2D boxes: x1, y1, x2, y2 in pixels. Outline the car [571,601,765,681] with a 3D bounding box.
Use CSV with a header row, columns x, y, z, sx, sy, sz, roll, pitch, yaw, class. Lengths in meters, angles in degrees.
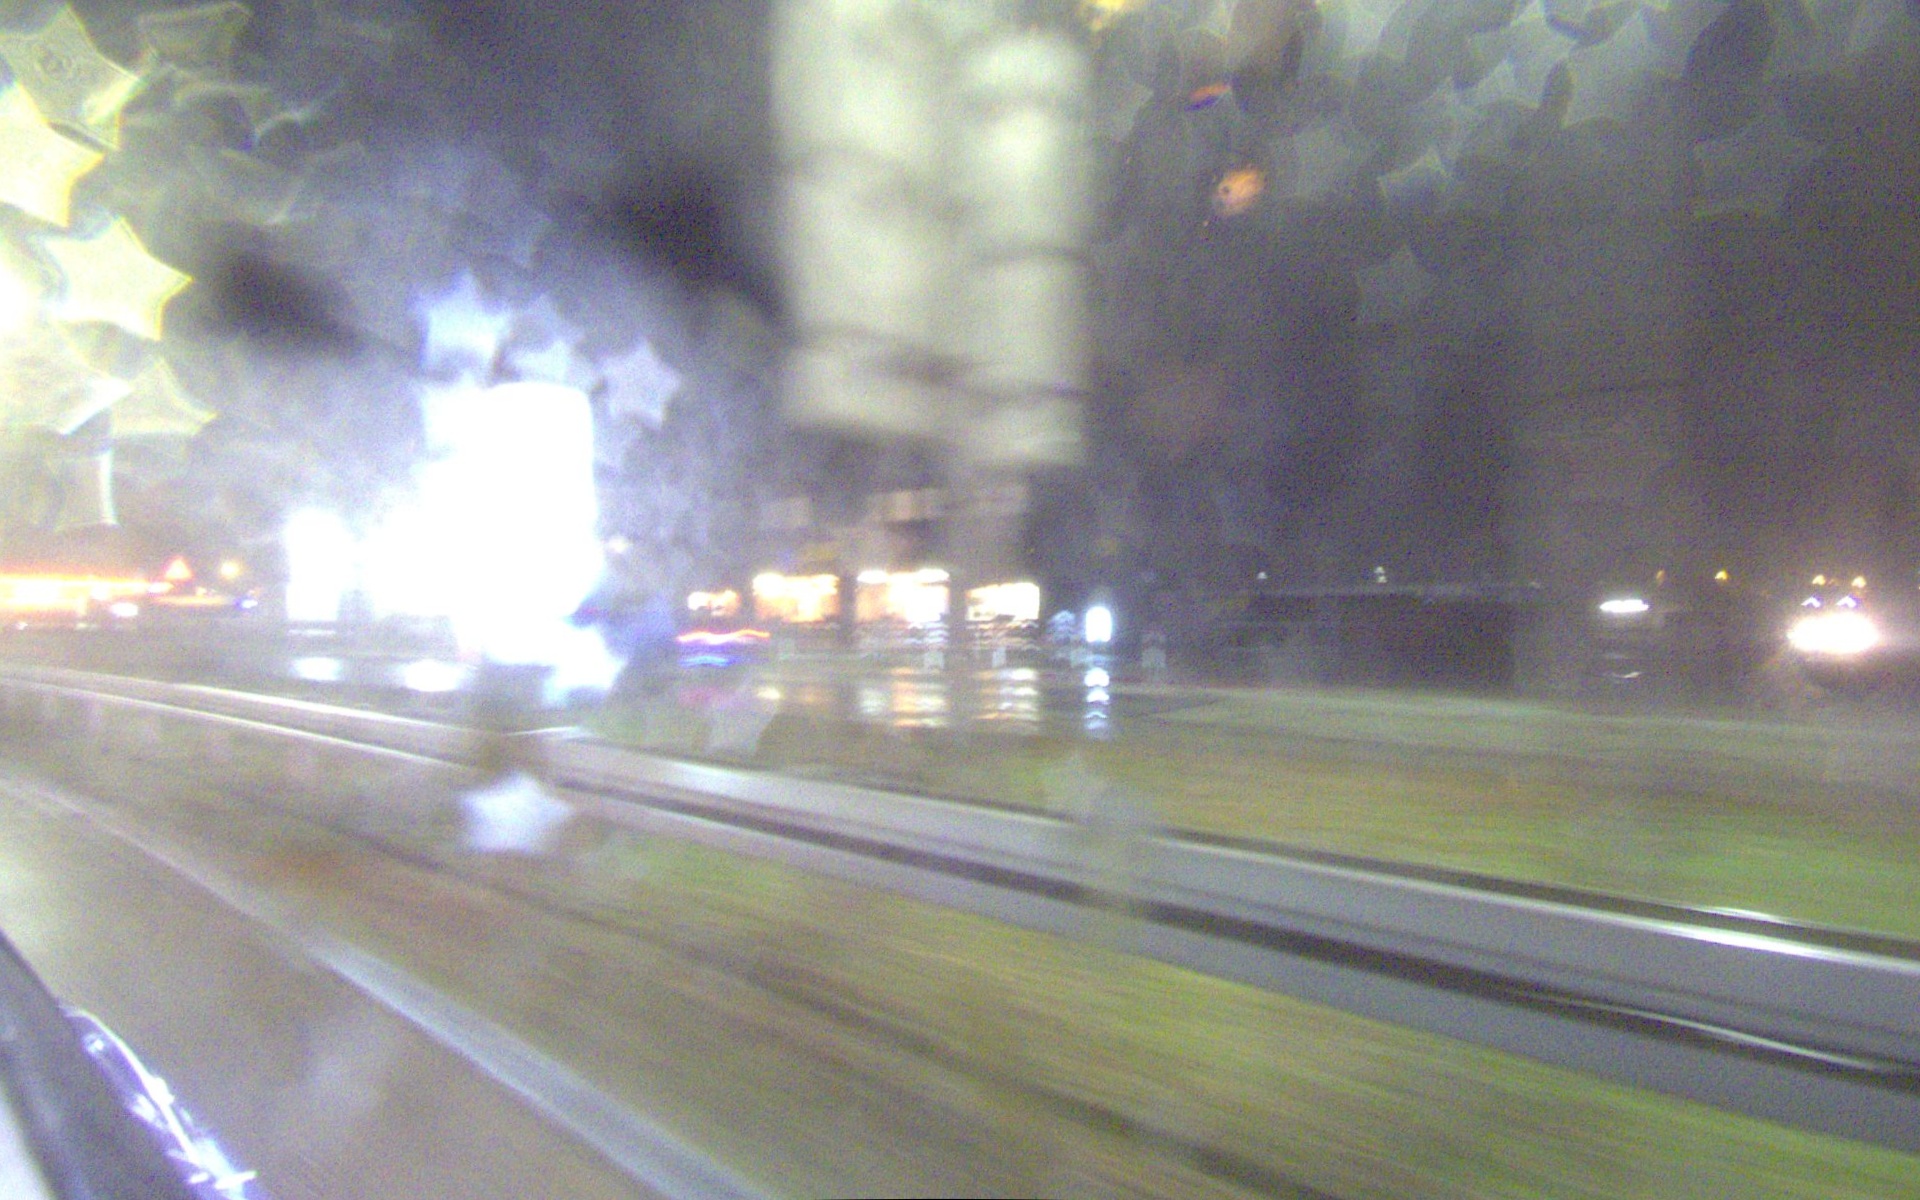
x,y,z,sx,sy,sz,roll,pitch,yaw,class
-5.872,0.756,20.218,3.941,1.437,1.554,0,1,33,car
